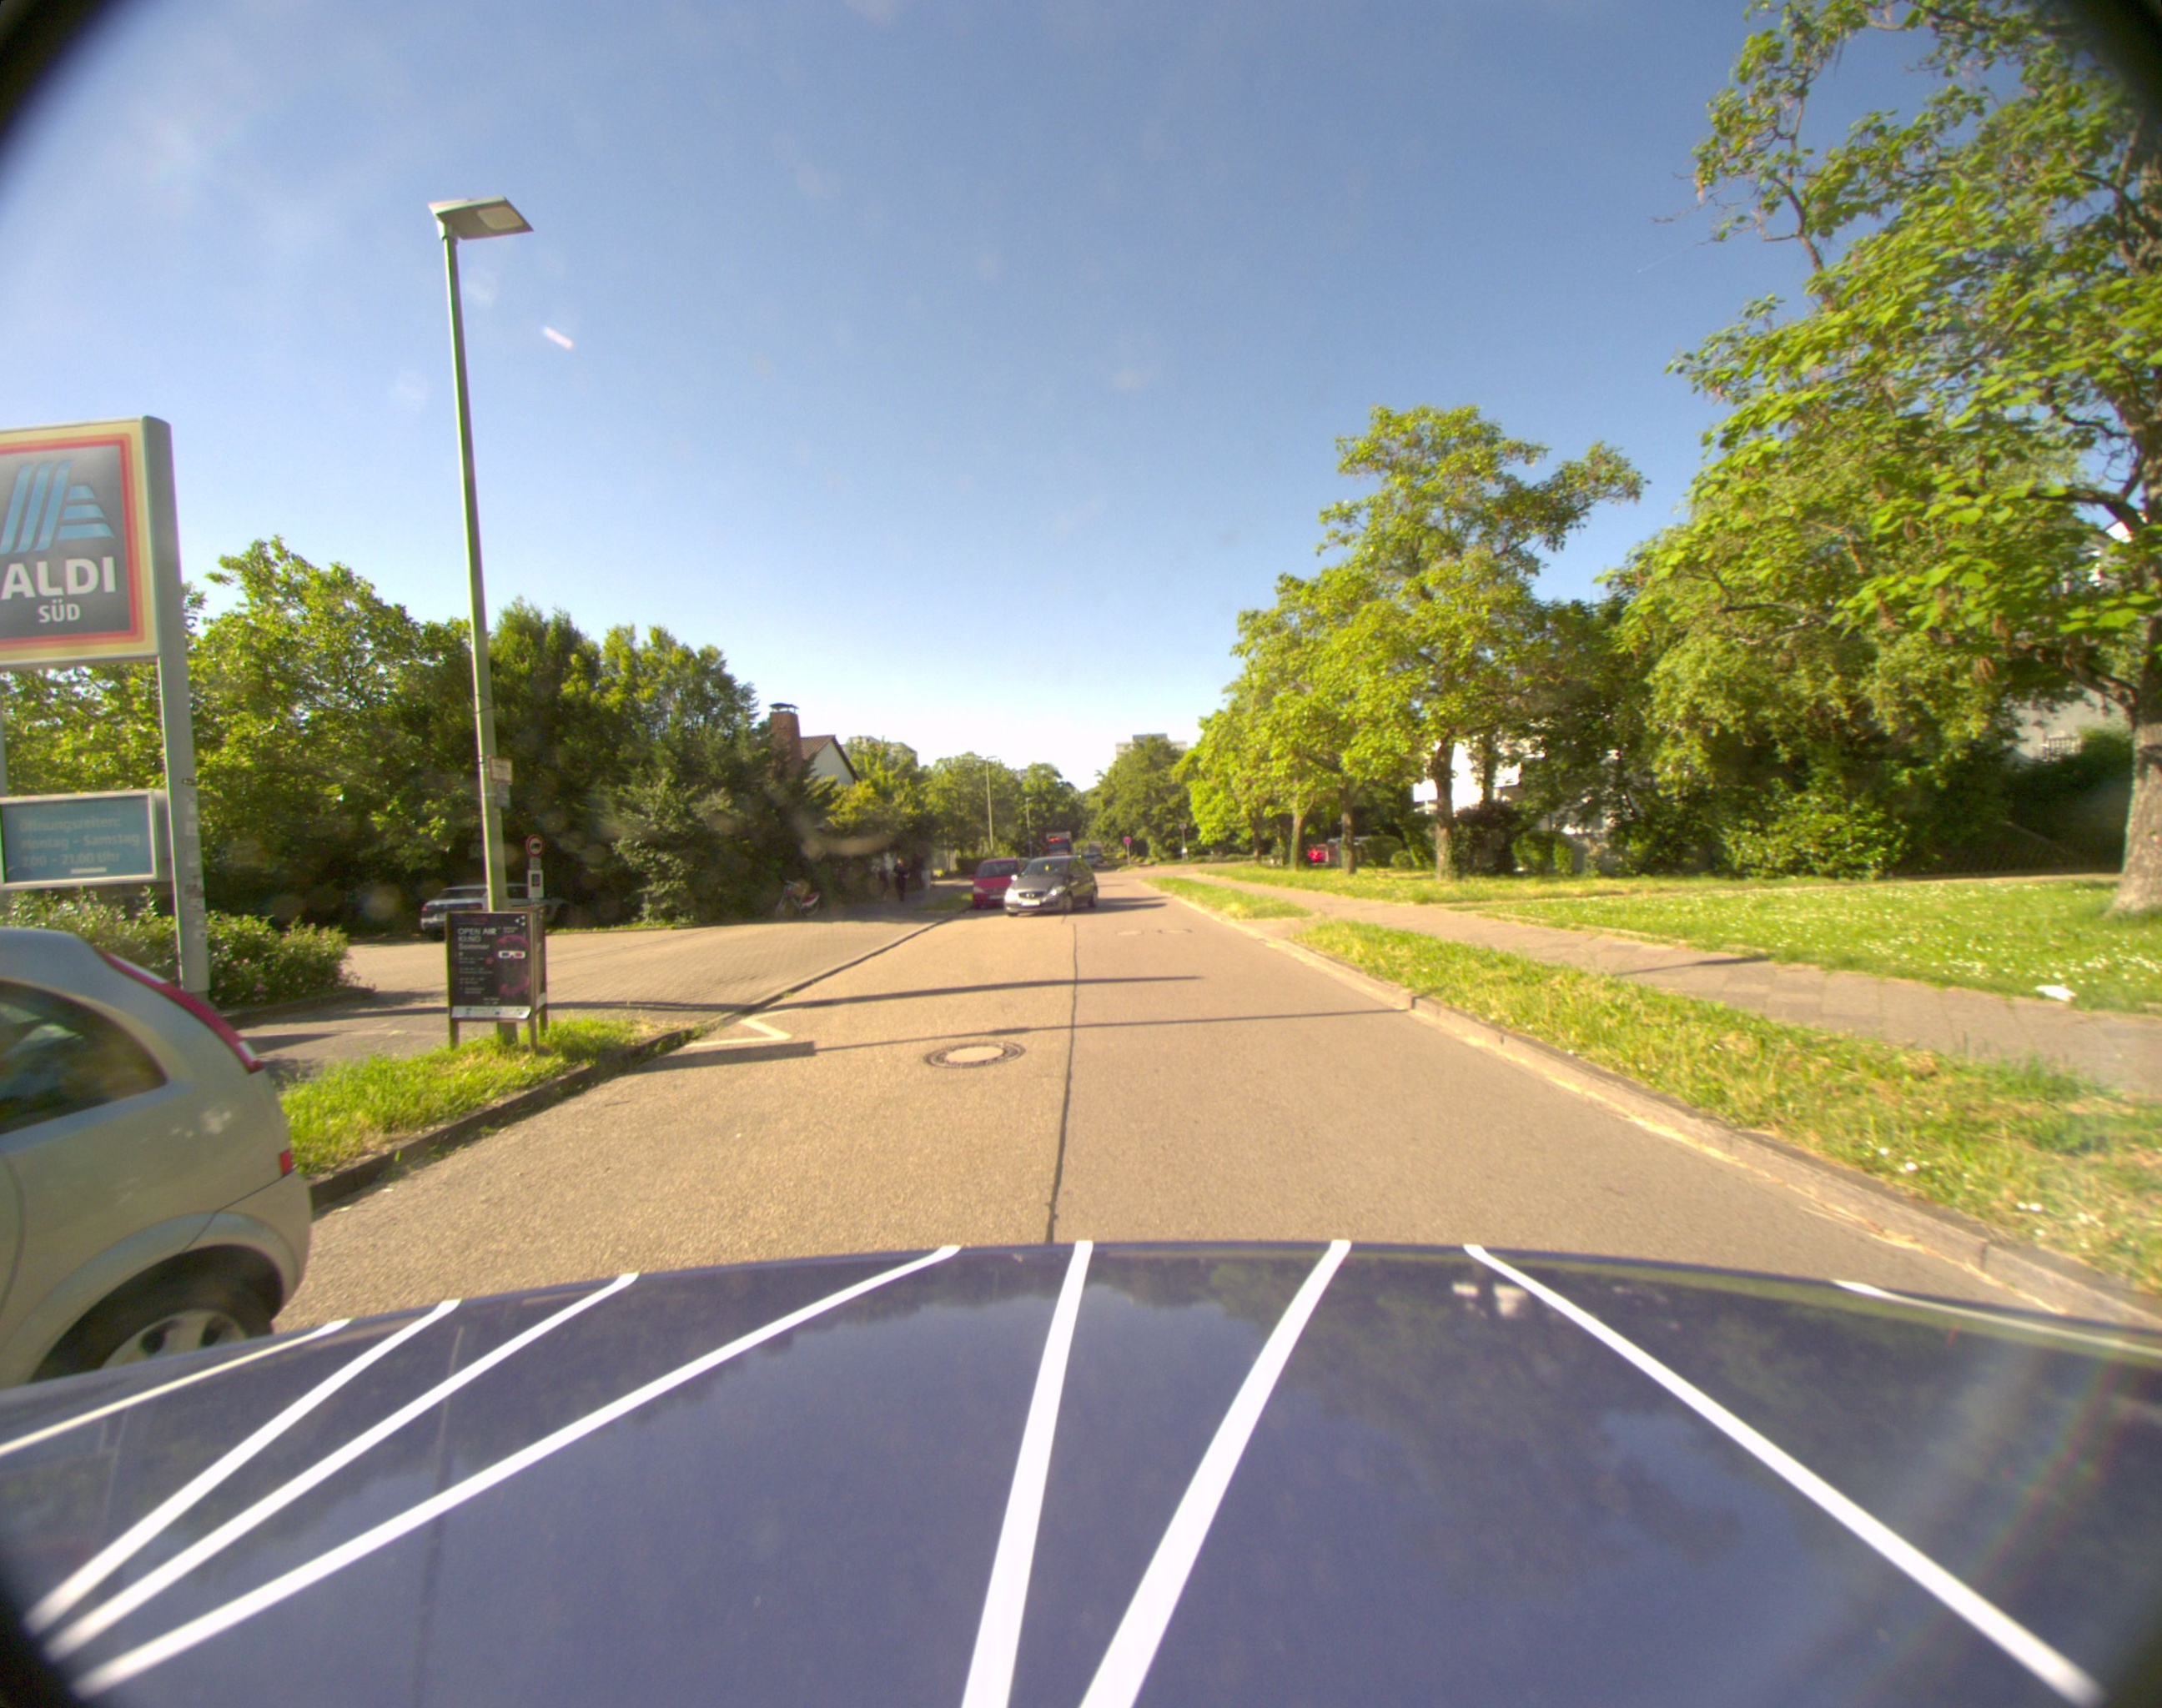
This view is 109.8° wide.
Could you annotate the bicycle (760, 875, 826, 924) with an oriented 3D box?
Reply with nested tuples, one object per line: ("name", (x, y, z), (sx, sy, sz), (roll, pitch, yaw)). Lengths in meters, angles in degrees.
("bicycle", (-8.235, 1.273, 21.800), (0.721, 1.214, 1.898), (-1, 2, 17))

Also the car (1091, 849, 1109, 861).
("car", (2.603, 0.095, 104.304), (1.667, 1.458, 4.184), (-2, 2, -9))

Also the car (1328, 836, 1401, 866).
("car", (20.369, -0.176, 54.729), (4.461, 1.957, 2.069), (-2, 0, 3))

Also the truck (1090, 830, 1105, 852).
("truck", (3.138, -2.545, 146.932), (2.803, 3.996, 9.623), (-1, 2, 1))

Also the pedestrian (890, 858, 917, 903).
("pedestrian", (-7.019, 1.018, 30.084), (0.806, 1.707, 0.983), (-1, 2, -3))

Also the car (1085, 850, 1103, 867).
("car", (1.415, 0.486, 84.636), (1.845, 1.795, 4.029), (-3, 1, 1))

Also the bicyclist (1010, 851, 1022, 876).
("bicyclist", (-5.335, 0.780, 62.320), (0.753, 2.002, 0.711), (-3, 1, -1))

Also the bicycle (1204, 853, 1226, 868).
("bicycle", (12.075, 0.581, 68.663), (1.902, 1.146, 0.760), (-3, 4, 10))

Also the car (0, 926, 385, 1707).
("car", (-3.134, 1.130, 0.434), (1.684, 1.590, 4.027), (-6, 1, -2))

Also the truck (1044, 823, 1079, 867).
("truck", (-2.006, -1.001, 82.495), (3.166, 4.320, 10.583), (-3, 1, 1))

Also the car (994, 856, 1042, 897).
("car", (-2.773, 0.949, 34.396), (1.729, 1.647, 4.352), (-3, 0, 0))

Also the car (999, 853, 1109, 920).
("car", (-0.663, 0.864, 21.631), (1.852, 1.635, 3.760), (-3, 0, 18))

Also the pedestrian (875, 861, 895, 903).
("pedestrian", (-7.738, 1.085, 30.059), (0.574, 1.600, 0.792), (-1, 2, -3))

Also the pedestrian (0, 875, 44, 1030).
("pedestrian", (-11.767, 1.061, 8.004), (0.692, 1.622, 0.778), (-3, 1, 22))

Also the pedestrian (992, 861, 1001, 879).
("pedestrian", (-7.729, 1.446, 69.154), (0.641, 1.629, 0.641), (-3, 1, 3))

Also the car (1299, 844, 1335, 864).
("car", (19.715, -0.054, 63.624), (1.674, 1.479, 3.884), (-3, 2, 0))

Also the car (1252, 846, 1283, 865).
("car", (15.941, 0.108, 65.165), (1.674, 1.479, 3.884), (-3, 2, 0))

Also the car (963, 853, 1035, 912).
("car", (-2.804, 0.922, 26.910), (1.844, 1.795, 4.653), (-3, 0, 1))

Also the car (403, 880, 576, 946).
("car", (-16.405, 1.567, 21.335), (1.777, 1.494, 3.802), (-3, 0, 1))
